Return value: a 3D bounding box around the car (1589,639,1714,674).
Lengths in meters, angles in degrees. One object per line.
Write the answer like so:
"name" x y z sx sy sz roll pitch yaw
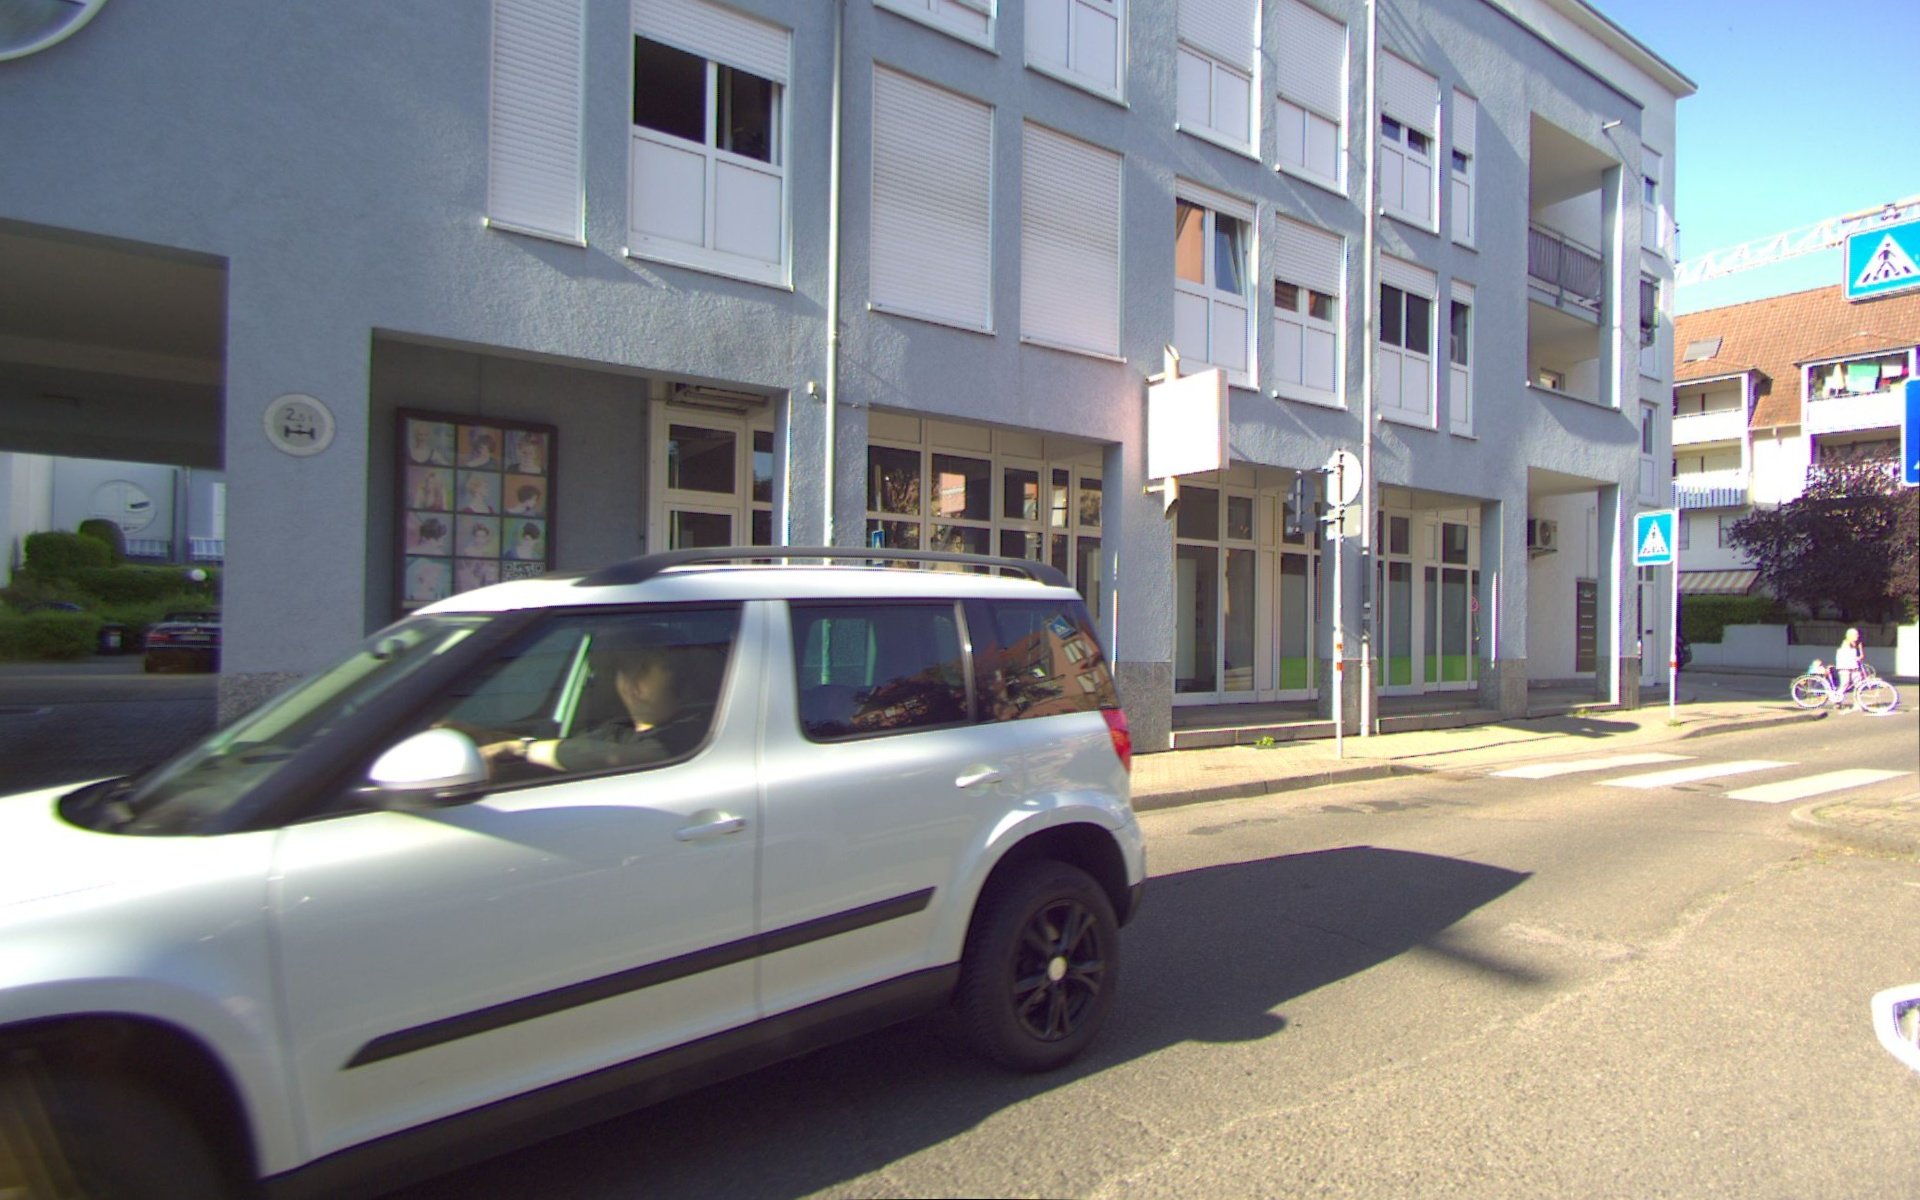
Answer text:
"car" 25.679 2.101 37.385 1.601 1.196 3.516 1 -3 -36

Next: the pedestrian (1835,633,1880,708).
"pedestrian" 18.267 1.425 20.443 0.596 1.492 0.553 1 -2 -36

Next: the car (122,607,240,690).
"car" -17.304 1.036 22.461 1.884 1.691 3.498 1 -2 -35

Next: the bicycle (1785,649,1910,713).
"bicycle" 17.901 1.607 20.304 0.592 1.200 1.777 1 -2 -32

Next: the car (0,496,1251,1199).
"car" -1.036 0.753 3.232 4.158 1.724 1.792 1 -3 -40
